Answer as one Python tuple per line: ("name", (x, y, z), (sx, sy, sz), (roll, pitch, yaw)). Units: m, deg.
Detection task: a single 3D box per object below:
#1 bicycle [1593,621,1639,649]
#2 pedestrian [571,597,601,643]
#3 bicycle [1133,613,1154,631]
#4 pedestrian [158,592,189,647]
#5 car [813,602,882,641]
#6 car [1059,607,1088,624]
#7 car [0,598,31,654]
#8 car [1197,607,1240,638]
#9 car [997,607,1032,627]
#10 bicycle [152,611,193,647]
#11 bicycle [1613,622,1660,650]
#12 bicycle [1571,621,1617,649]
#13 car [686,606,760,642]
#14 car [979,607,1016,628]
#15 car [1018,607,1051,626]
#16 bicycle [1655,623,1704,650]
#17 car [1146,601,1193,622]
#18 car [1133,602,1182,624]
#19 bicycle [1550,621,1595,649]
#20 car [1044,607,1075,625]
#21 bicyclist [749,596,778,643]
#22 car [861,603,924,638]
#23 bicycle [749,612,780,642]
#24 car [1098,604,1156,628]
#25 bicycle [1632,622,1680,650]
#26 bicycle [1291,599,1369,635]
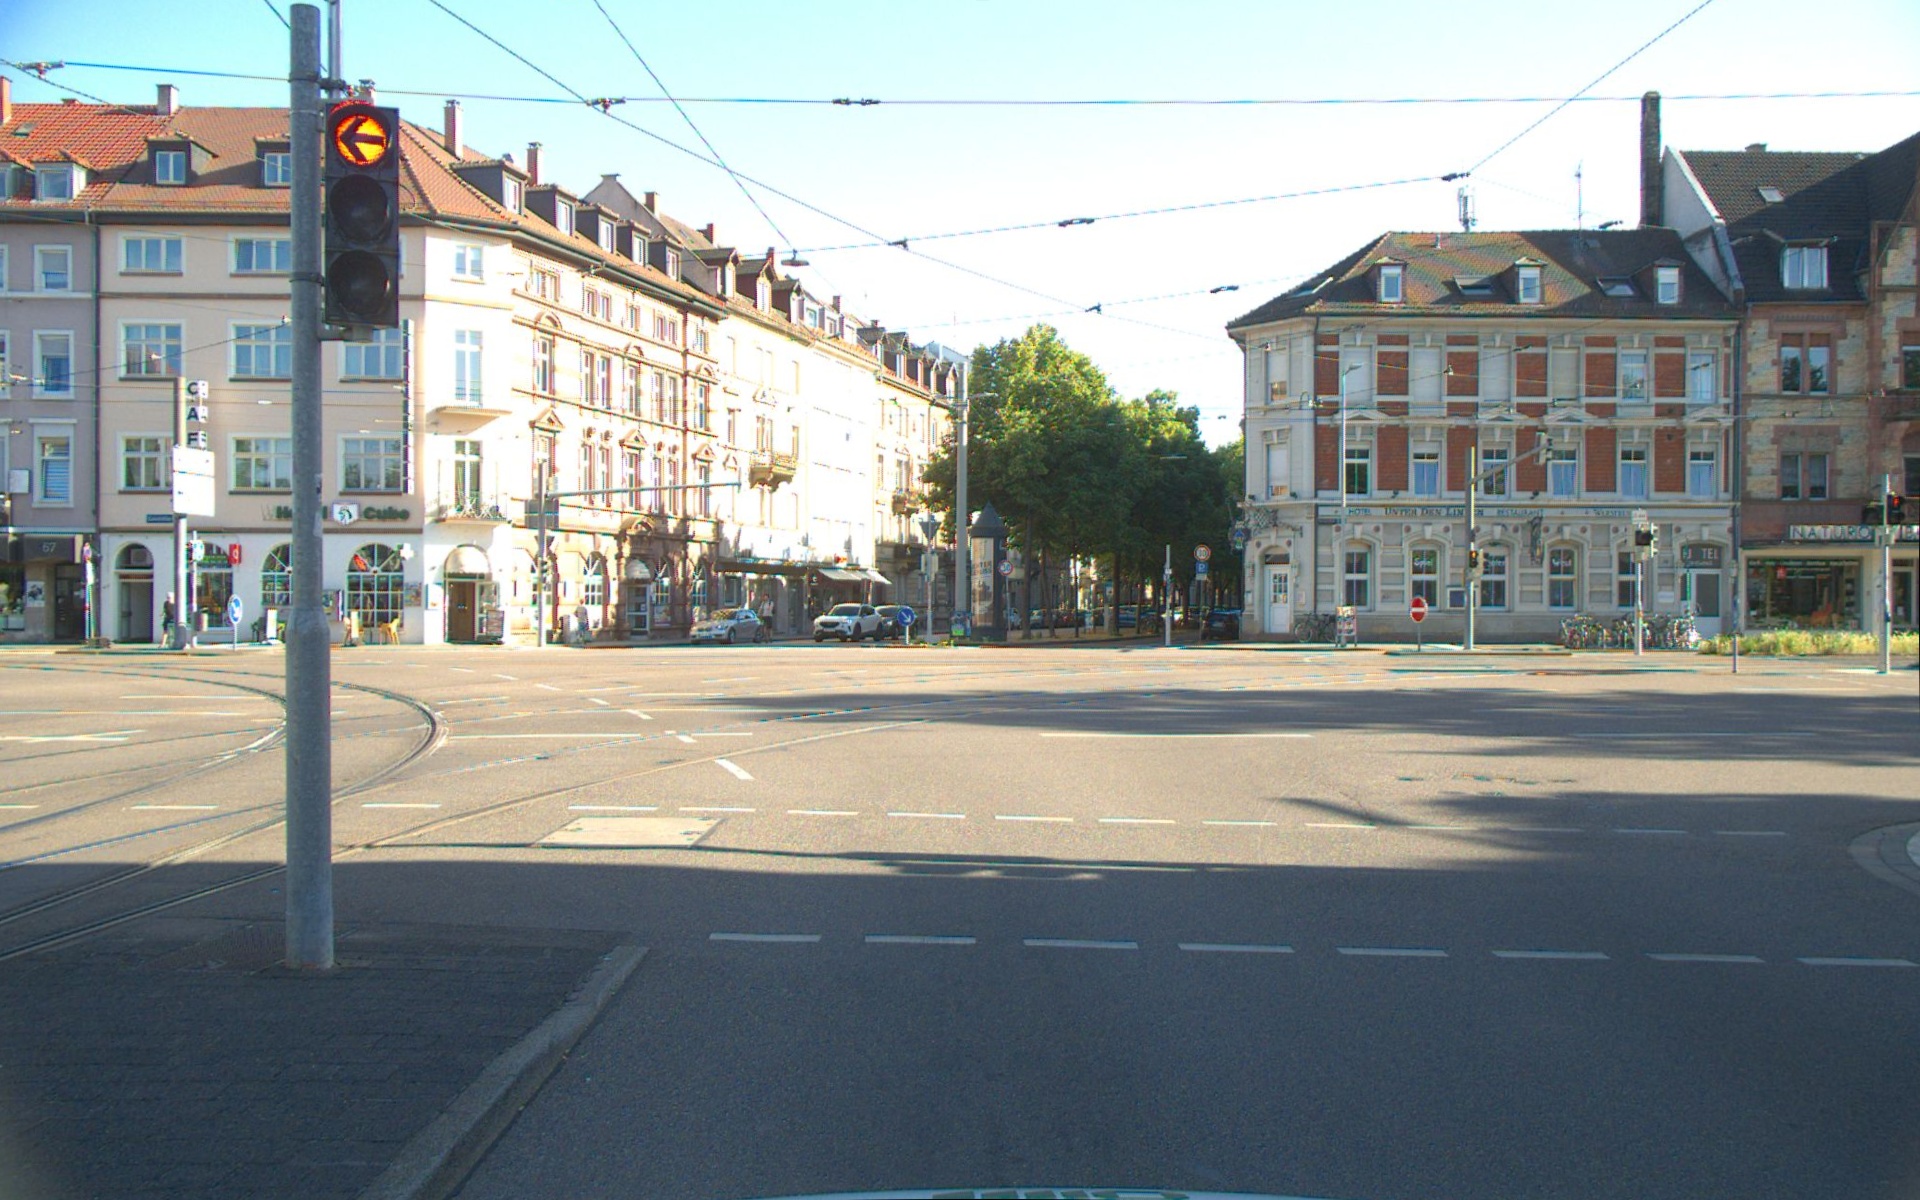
("bicycle", (21.186, 1.137, 53.468), (0.645, 0.855, 2.160), (1, 0, 1))
("pedestrian", (-13.994, 0.758, 61.858), (0.759, 1.699, 0.831), (1, -1, 15))
("bicycle", (11.048, 1.303, 99.627), (0.625, 1.039, 1.840), (1, 0, -14))
("pedestrian", (-24.694, 0.616, 51.933), (0.570, 1.699, 0.752), (1, -1, -1))
("car", (-4.541, 0.846, 67.227), (1.642, 1.509, 3.774), (0, 0, 16))
("car", (9.314, 1.260, 135.896), (1.642, 1.378, 3.593), (0, 0, 16))
("car", (-32.158, 0.790, 52.259), (4.276, 1.741, 2.306), (1, 0, 1))
("car", (12.953, 1.112, 82.749), (1.642, 1.509, 3.950), (0, 0, 16))
("car", (3.818, 1.166, 115.515), (1.642, 1.378, 3.593), (0, 0, 16))
("bicycle", (-24.699, 0.914, 51.896), (0.561, 1.096, 1.497), (1, 0, -1))
("bicycle", (21.857, 1.149, 53.502), (0.645, 0.855, 2.160), (1, 0, 1))
("bicycle", (20.475, 1.125, 53.455), (0.645, 0.855, 2.160), (1, 0, 1))
("car", (-9.546, 0.936, 66.746), (1.642, 1.378, 3.593), (0, 0, 16))
("car", (2.561, 1.146, 111.340), (1.642, 1.378, 3.593), (0, 0, 16))
("car", (5.530, 1.200, 122.502), (1.642, 1.378, 3.593), (0, 0, 16))
("bicycle", (23.273, 1.173, 53.527), (0.645, 0.855, 2.160), (1, 0, 1))
("car", (16.939, 0.895, 133.746), (3.503, 1.677, 1.684), (0, 0, 16))
("car", (15.316, 0.969, 128.247), (3.503, 1.677, 1.684), (0, 0, 16))
("bicycle", (19.755, 1.112, 53.367), (0.645, 0.855, 2.160), (1, 0, 1))
("car", (7.889, 1.223, 130.844), (1.642, 1.378, 3.593), (0, 0, 16))
("bicyclist", (-7.720, 0.769, 65.005), (0.761, 1.834, 1.056), (1, -1, 13))
("car", (-2.953, 0.891, 73.552), (1.642, 1.509, 3.950), (0, 0, 16))
("bicycle", (-7.686, 1.050, 65.128), (0.687, 1.137, 1.636), (1, 0, 13))
("car", (11.711, 1.124, 115.834), (3.819, 1.677, 1.684), (0, 0, 16))
("bicycle", (22.485, 1.159, 53.481), (0.645, 0.855, 2.160), (1, 0, 1))
("bicycle", (12.861, 0.593, 57.457), (2.504, 1.194, 0.818), (1, -1, -4))
